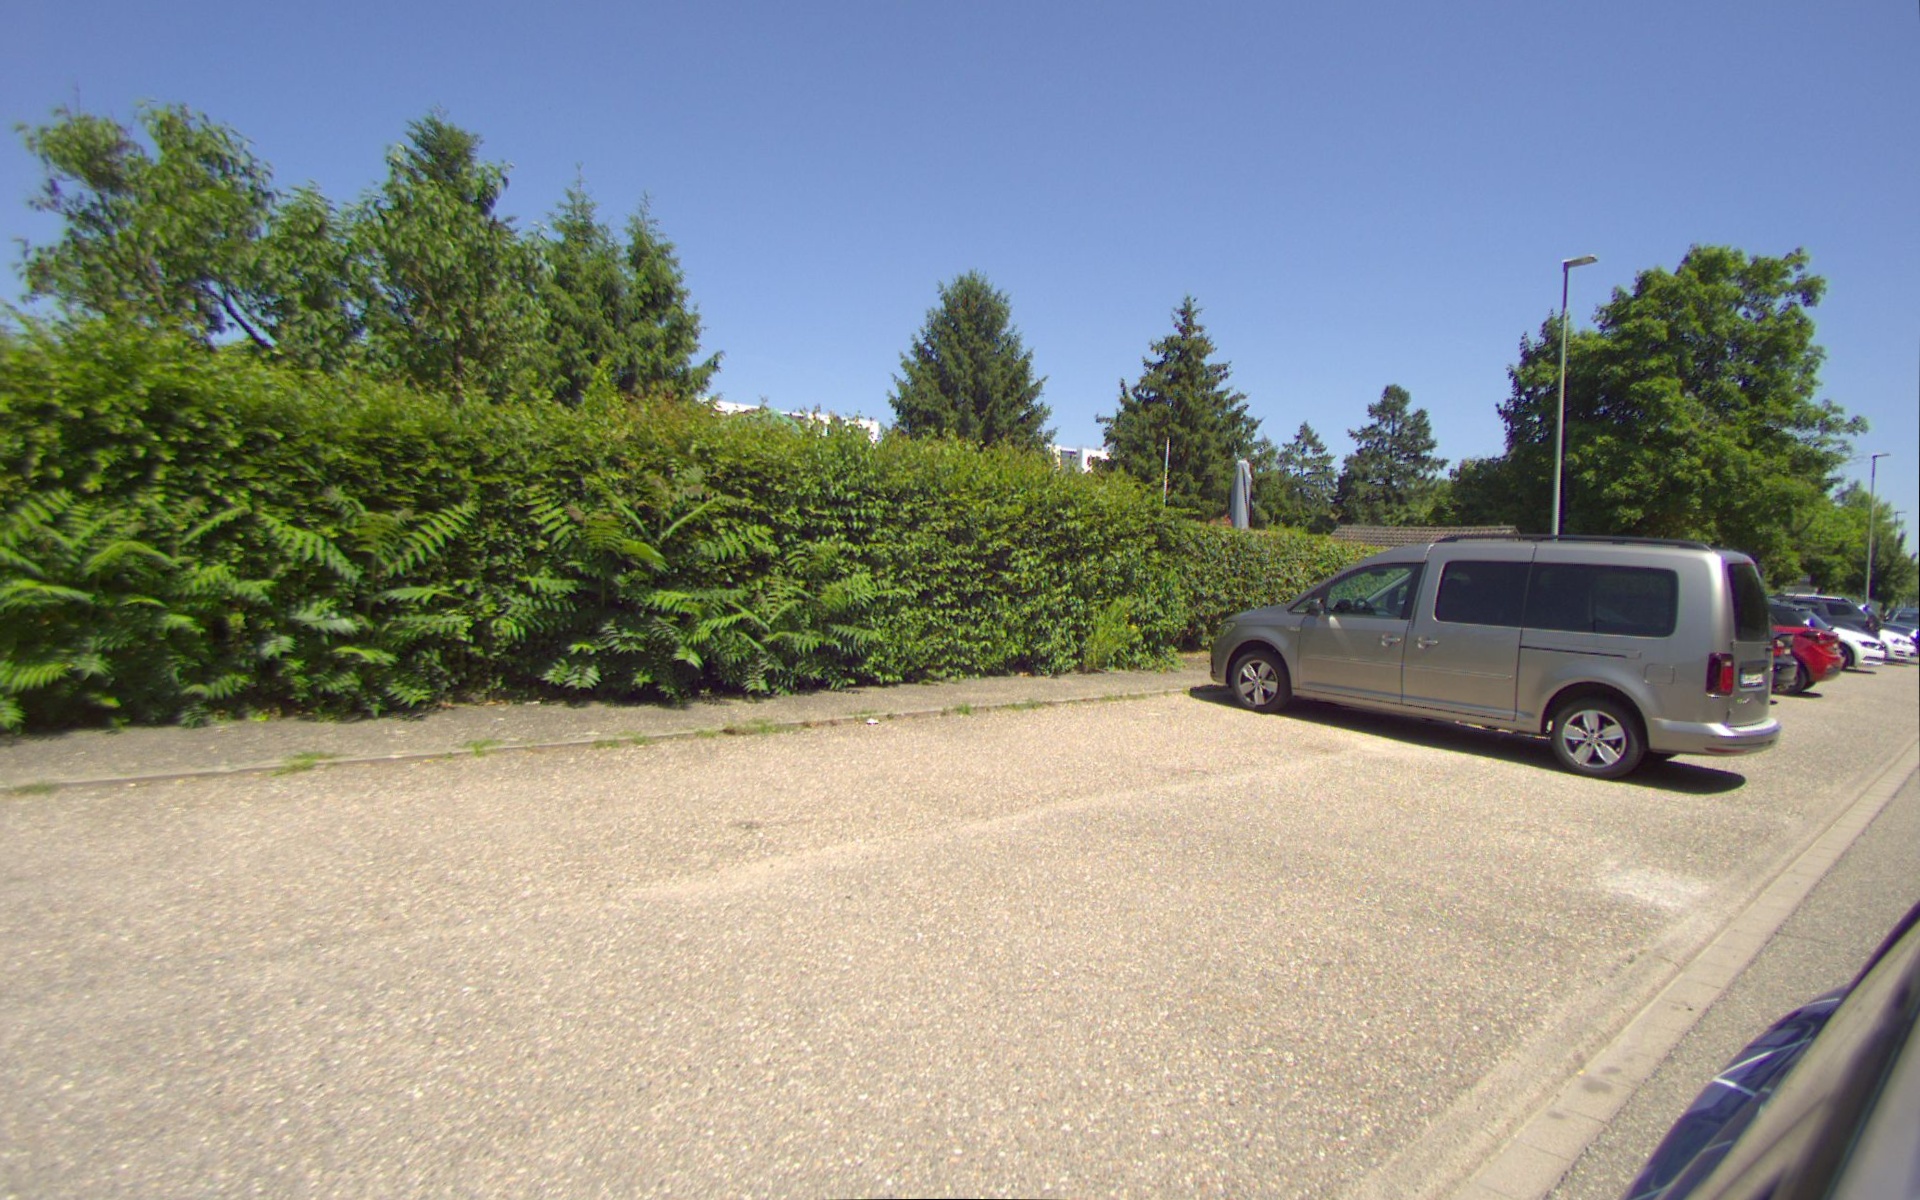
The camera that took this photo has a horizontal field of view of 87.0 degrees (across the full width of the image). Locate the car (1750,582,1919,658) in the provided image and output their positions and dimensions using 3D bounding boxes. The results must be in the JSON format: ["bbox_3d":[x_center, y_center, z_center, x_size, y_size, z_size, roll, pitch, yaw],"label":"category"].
[{"bbox_3d":[26.843,0.605,30.438,1.881,1.723,4.480,2,6,-43],"label":"car"}]

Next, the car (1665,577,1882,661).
[{"bbox_3d":[20.785,0.429,25.974,1.729,1.566,4.055,1,6,-45],"label":"car"}]

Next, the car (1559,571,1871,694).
[{"bbox_3d":[12.866,0.471,17.437,1.813,1.496,3.929,2,6,-42],"label":"car"}]

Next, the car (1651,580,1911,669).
[{"bbox_3d":[19.421,0.505,24.098,4.563,1.456,1.930,9,6,44],"label":"car"}]

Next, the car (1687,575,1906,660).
[{"bbox_3d":[22.738,0.416,27.639,1.821,1.718,4.269,2,5,-42],"label":"car"}]

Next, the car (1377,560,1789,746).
[{"bbox_3d":[6.917,0.461,11.443,3.579,1.520,1.812,7,4,44],"label":"car"}]

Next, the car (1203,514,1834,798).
[{"bbox_3d":[4.820,0.263,9.365,1.961,1.870,4.632,2,4,-41],"label":"car"}]

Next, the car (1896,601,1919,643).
[{"bbox_3d":[38.129,0.923,39.731,1.792,1.499,4.590,9,6,44],"label":"car"}]

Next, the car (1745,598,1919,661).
[{"bbox_3d":[24.971,0.802,28.707,1.801,1.470,4.003,1,3,-43],"label":"car"}]

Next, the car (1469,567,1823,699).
[{"bbox_3d":[10.600,0.416,15.883,1.810,1.404,4.212,1,6,-43],"label":"car"}]
